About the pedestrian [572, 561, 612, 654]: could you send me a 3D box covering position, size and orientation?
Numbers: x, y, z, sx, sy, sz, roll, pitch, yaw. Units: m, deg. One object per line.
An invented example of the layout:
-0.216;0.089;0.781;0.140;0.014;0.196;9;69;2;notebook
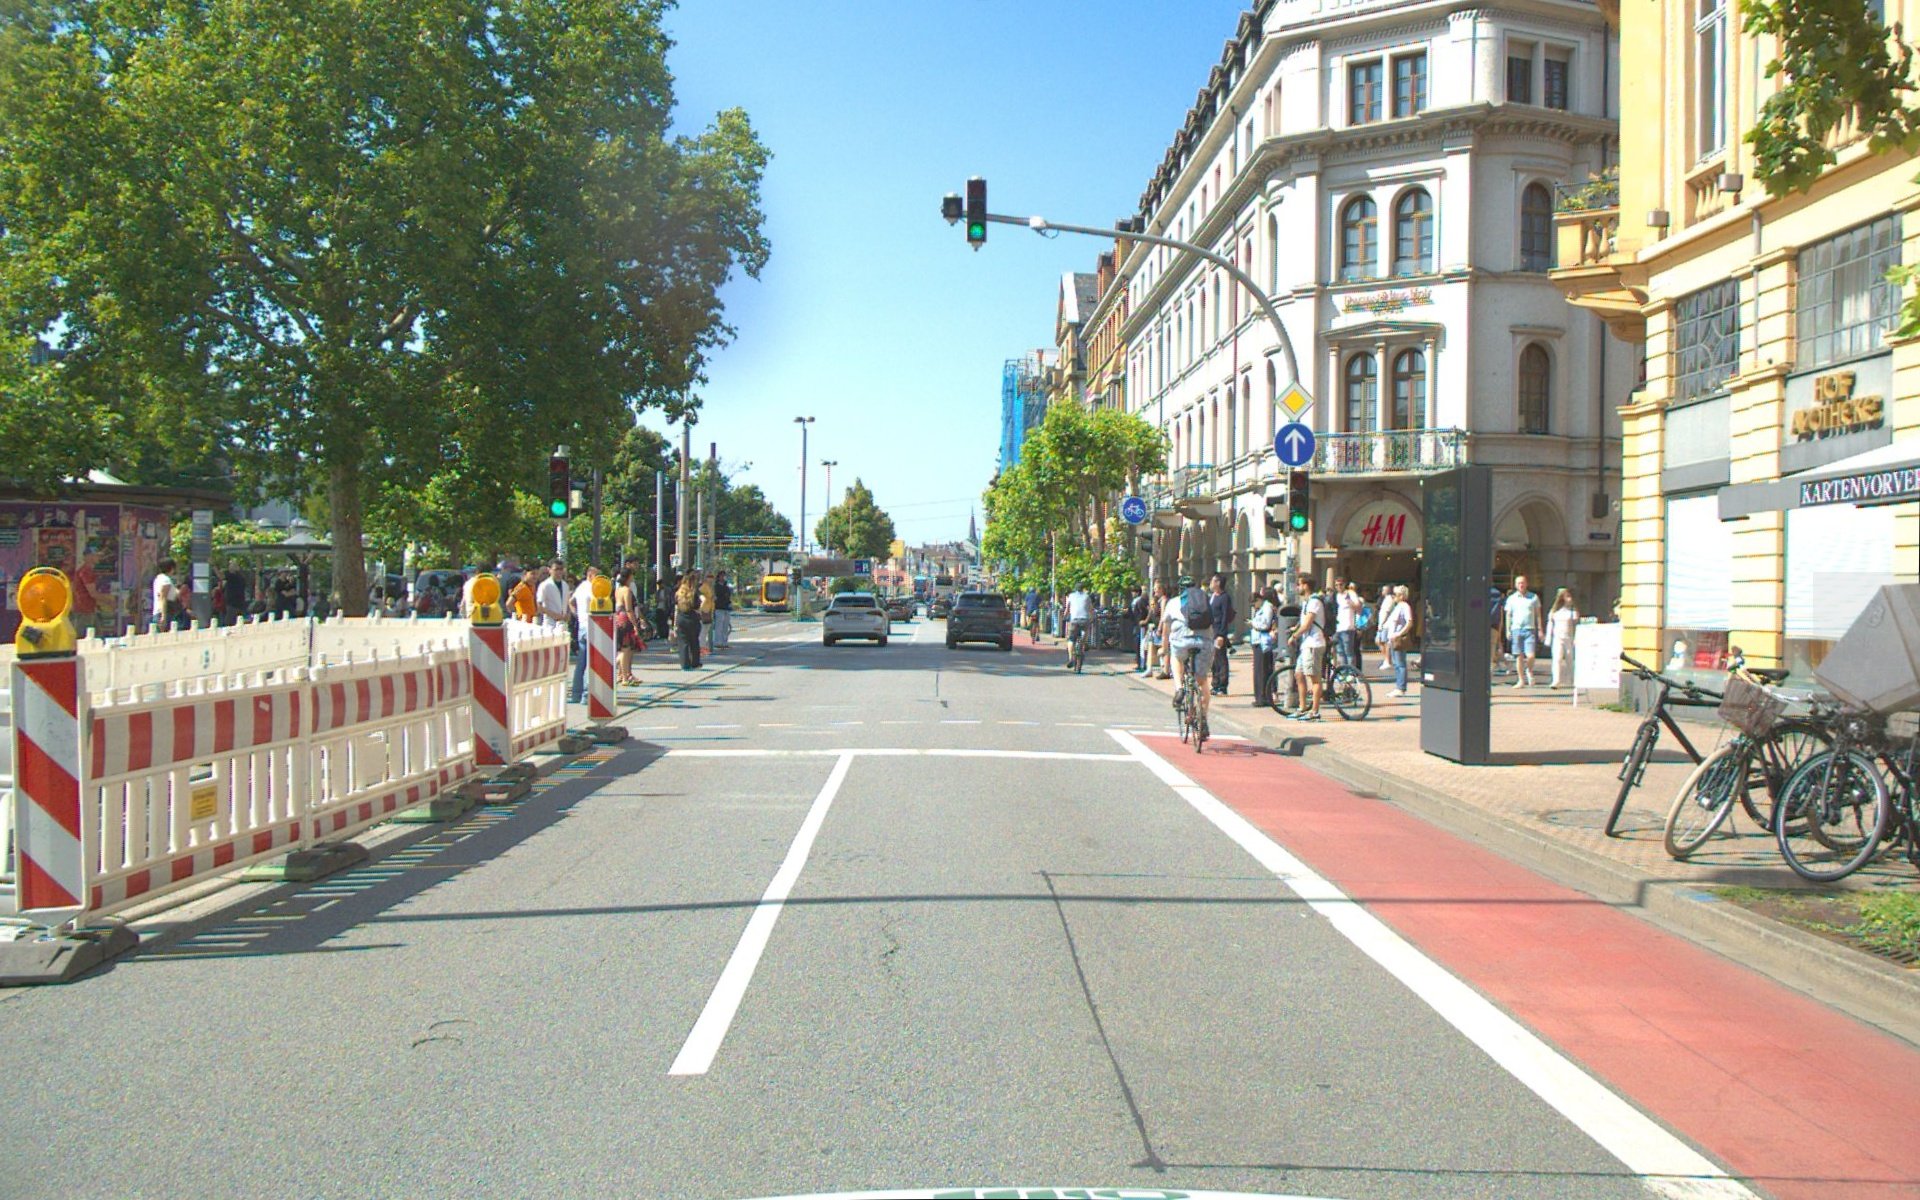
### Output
-7.338;0.155;32.993;0.564;1.810;0.606;2;0;5;pedestrian

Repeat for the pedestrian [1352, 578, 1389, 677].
7.251;0.486;29.225;0.512;1.732;0.535;0;0;-1;pedestrian

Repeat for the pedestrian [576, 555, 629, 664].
-6.282;0.163;29.081;0.619;1.891;0.687;1;0;20;pedestrian

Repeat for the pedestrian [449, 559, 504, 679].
-7.242;0.272;24.805;0.572;1.751;0.789;1;2;1;pedestrian

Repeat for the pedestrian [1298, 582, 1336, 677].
6.264;0.518;29.004;0.512;1.640;0.641;0;0;-1;pedestrian

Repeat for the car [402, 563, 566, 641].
-12.821;0.068;44.872;1.820;1.989;4.762;1;0;20;car

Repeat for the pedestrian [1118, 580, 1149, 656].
4.073;0.420;38.934;0.571;1.729;0.605;-2;0;-3;pedestrian

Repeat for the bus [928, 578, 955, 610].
-2.228;-0.708;198.227;2.934;3.657;11.740;1;0;-2;bus

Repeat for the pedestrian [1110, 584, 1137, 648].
4.221;0.411;42.786;0.519;1.622;0.611;1;3;25;pedestrian

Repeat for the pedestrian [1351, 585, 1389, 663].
8.824;0.506;35.589;0.598;1.646;0.677;1;2;-3;pedestrian

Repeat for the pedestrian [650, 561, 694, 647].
-6.452;0.091;37.055;0.620;1.891;0.730;1;0;28;pedestrian

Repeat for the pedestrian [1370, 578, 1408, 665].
9.191;0.461;35.454;0.598;1.838;0.677;1;0;-3;pedestrian

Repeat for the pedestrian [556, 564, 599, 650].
-7.868;0.149;34.041;0.564;1.741;0.606;2;0;19;pedestrian

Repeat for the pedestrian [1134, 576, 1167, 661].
4.235;0.408;36.742;0.598;1.855;0.677;1;0;-3;pedestrian

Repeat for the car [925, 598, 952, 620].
-1.515;0.610;114.306;1.808;1.438;3.999;1;0;-2;car

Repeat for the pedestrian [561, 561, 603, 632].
-9.610;-0.094;42.072;0.665;1.795;0.765;1;0;28;pedestrian

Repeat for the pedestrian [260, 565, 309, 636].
-14.657;0.008;35.897;0.619;1.504;0.731;1;0;20;pedestrian

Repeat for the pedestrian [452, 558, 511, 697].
-6.781;0.383;23.469;0.564;1.923;0.653;2;0;1;pedestrian

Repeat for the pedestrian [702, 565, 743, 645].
-5.574;0.112;38.909;0.620;1.866;0.730;1;0;28;pedestrian

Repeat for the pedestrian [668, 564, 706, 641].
-6.668;0.055;40.381;0.605;1.855;0.663;1;-1;28;pedestrian

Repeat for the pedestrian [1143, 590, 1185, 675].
3.819;0.600;31.002;0.598;1.541;0.677;-3;0;-3;pedestrian

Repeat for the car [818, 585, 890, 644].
-2.928;0.370;46.387;1.808;1.587;4.000;0;1;-1;car

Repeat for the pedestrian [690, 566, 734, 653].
-5.315;0.197;35.446;0.619;1.825;0.731;1;0;20;pedestrian

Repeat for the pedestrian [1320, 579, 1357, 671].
6.843;0.443;29.930;0.512;1.637;0.641;0;0;-1;pedestrian

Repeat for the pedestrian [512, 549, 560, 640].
-8.687;-0.114;33.897;0.619;1.842;0.731;1;0;20;pedestrian

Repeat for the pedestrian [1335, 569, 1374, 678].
6.827;0.398;28.638;0.512;1.855;0.641;0;0;-1;pedestrian

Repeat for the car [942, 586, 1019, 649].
0.506;0.446;45.429;1.809;1.586;3.997;-1;1;-3;car

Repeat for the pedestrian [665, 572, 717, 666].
-4.710;0.328;28.978;0.619;1.623;0.687;1;0;20;pedestrian

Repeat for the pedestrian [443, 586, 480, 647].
-11.624;0.378;38.579;0.717;1.410;0.664;1;0;-8;pedestrian

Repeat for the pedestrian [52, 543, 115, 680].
-12.463;0.164;23.512;0.656;1.912;0.624;2;-1;-35;pedestrian

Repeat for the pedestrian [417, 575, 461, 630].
-11.353;0.054;36.053;0.619;1.164;0.665;1;0;20;pedestrian

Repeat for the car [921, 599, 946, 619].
-2.060;0.650;126.703;1.808;1.438;3.999;1;0;-2;car

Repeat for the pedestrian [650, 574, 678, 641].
-7.843;0.198;43.859;0.598;1.755;0.677;1;0;-3;pedestrian

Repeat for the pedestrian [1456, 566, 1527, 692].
7.897;0.432;24.617;0.644;1.821;1.232;1;-2;-1;pedestrian

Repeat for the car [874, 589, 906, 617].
-4.135;0.175;97.523;1.808;1.587;3.999;1;0;-2;car

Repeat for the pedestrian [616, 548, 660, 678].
-4.892;0.197;25.173;0.521;1.953;0.560;1;0;1;pedestrian

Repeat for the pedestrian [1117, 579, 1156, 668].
3.638;0.476;34.060;0.598;1.770;0.677;-3;0;-3;pedestrian

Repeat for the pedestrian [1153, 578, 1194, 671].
4.231;0.472;32.749;0.598;1.790;0.677;-3;0;-3;pedestrian

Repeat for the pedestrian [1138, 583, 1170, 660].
4.374;0.478;37.279;0.571;1.703;0.605;-2;0;-3;pedestrian

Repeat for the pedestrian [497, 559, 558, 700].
-5.468;0.373;20.914;0.534;1.748;0.599;2;-1;-32;pedestrian

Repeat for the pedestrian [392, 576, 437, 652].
-11.680;0.296;35.421;0.619;1.593;0.665;1;0;20;pedestrian

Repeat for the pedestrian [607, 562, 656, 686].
-4.833;0.344;24.352;0.564;1.788;0.638;1;0;1;pedestrian

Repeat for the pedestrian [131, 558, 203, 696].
-10.458;0.352;21.835;0.564;1.769;0.606;2;0;5;pedestrian

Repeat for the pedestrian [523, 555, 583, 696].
-5.331;0.328;21.676;0.528;1.810;0.606;2;0;5;pedestrian

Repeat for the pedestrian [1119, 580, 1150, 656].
4.038;0.413;38.281;0.571;1.703;0.605;-2;0;-3;pedestrian

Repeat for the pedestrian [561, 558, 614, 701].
-4.683;0.367;20.780;0.425;1.770;0.600;2;-1;-32;pedestrian
